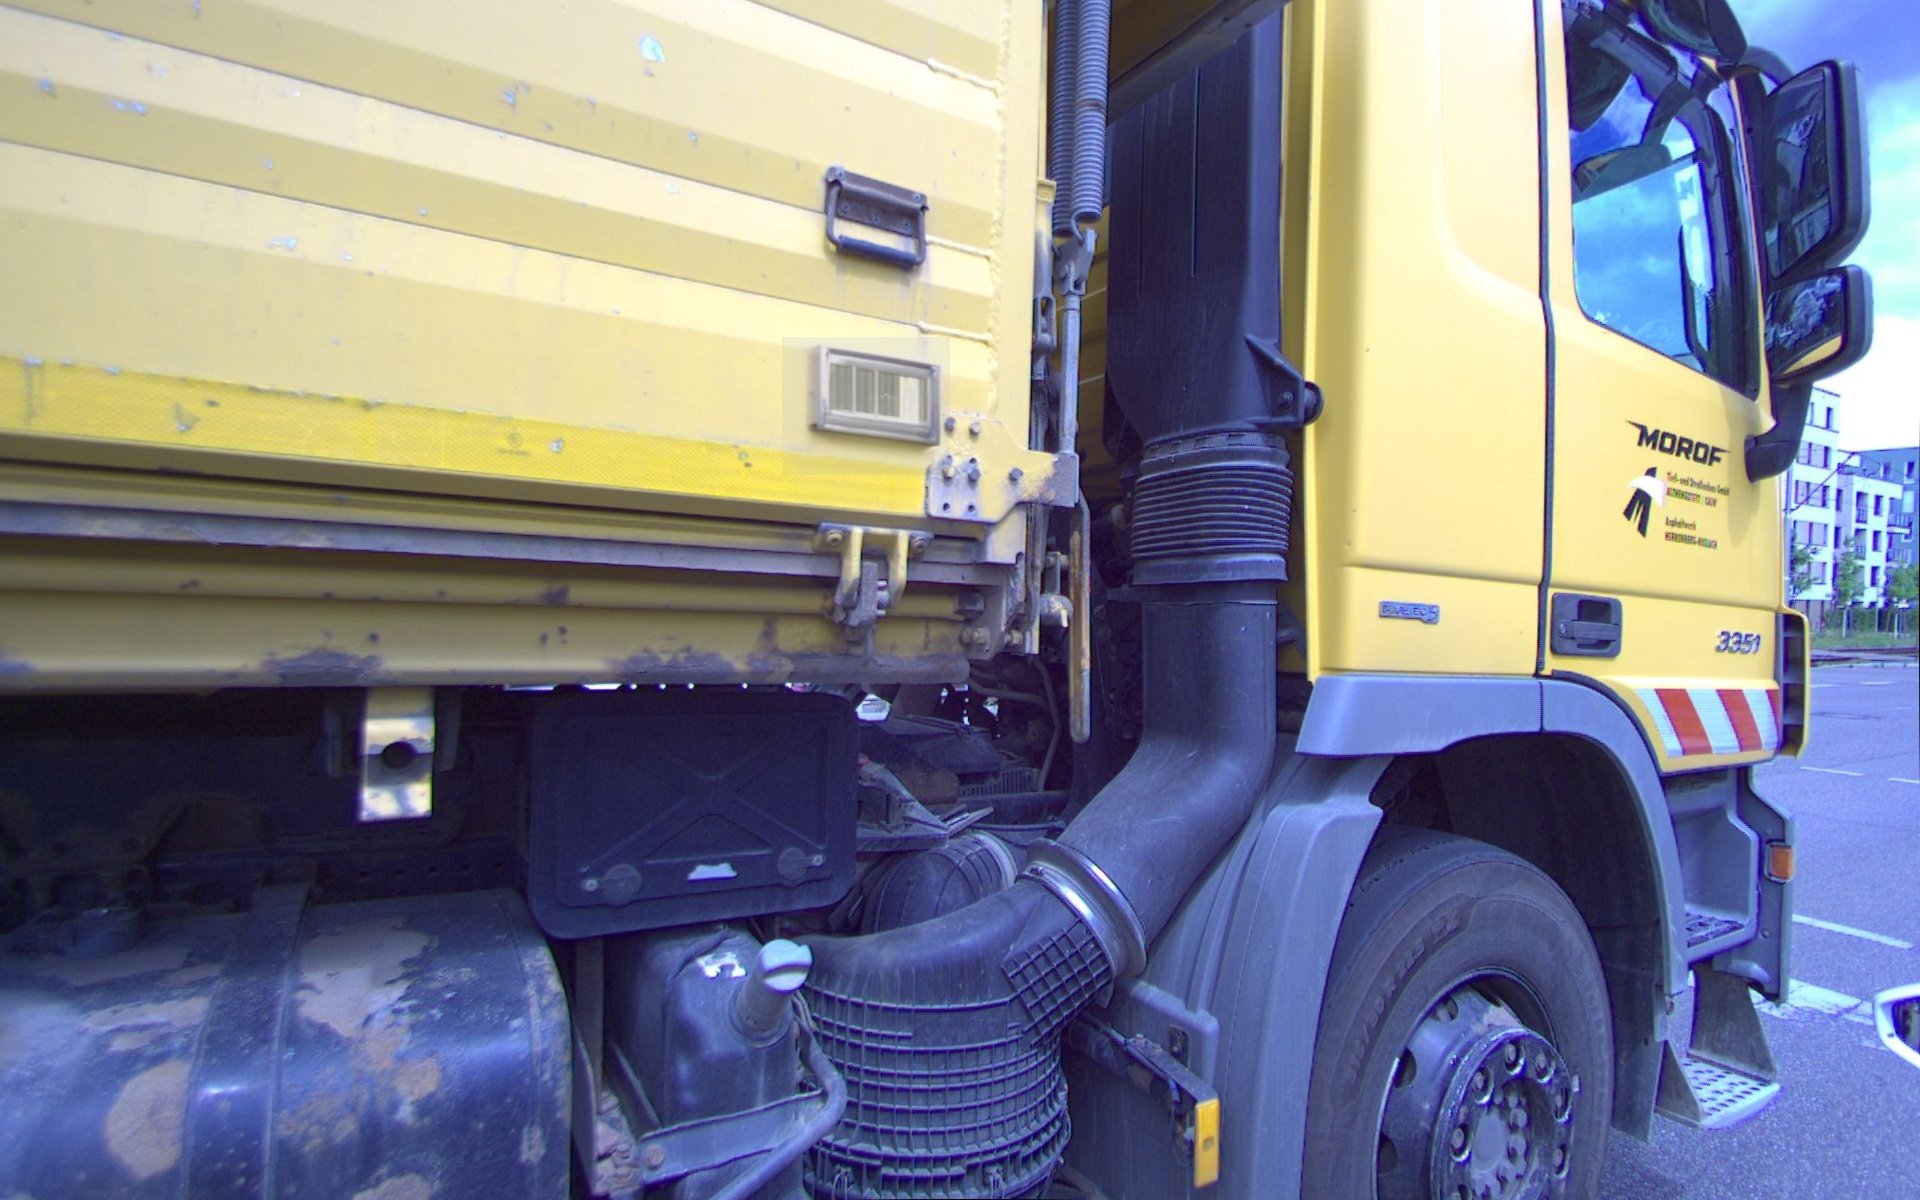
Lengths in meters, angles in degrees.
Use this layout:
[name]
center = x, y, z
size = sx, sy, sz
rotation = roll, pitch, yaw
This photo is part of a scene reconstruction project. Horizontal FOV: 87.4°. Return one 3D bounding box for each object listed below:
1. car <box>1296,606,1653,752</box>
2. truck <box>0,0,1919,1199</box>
[car]
center = 6.186, 0.848, 12.064
size = 3.990, 1.489, 1.772
rotation = 1, 0, -26
[truck]
center = -1.532, -0.042, 1.584
size = 7.688, 3.043, 2.707
rotation = 2, 0, -30
